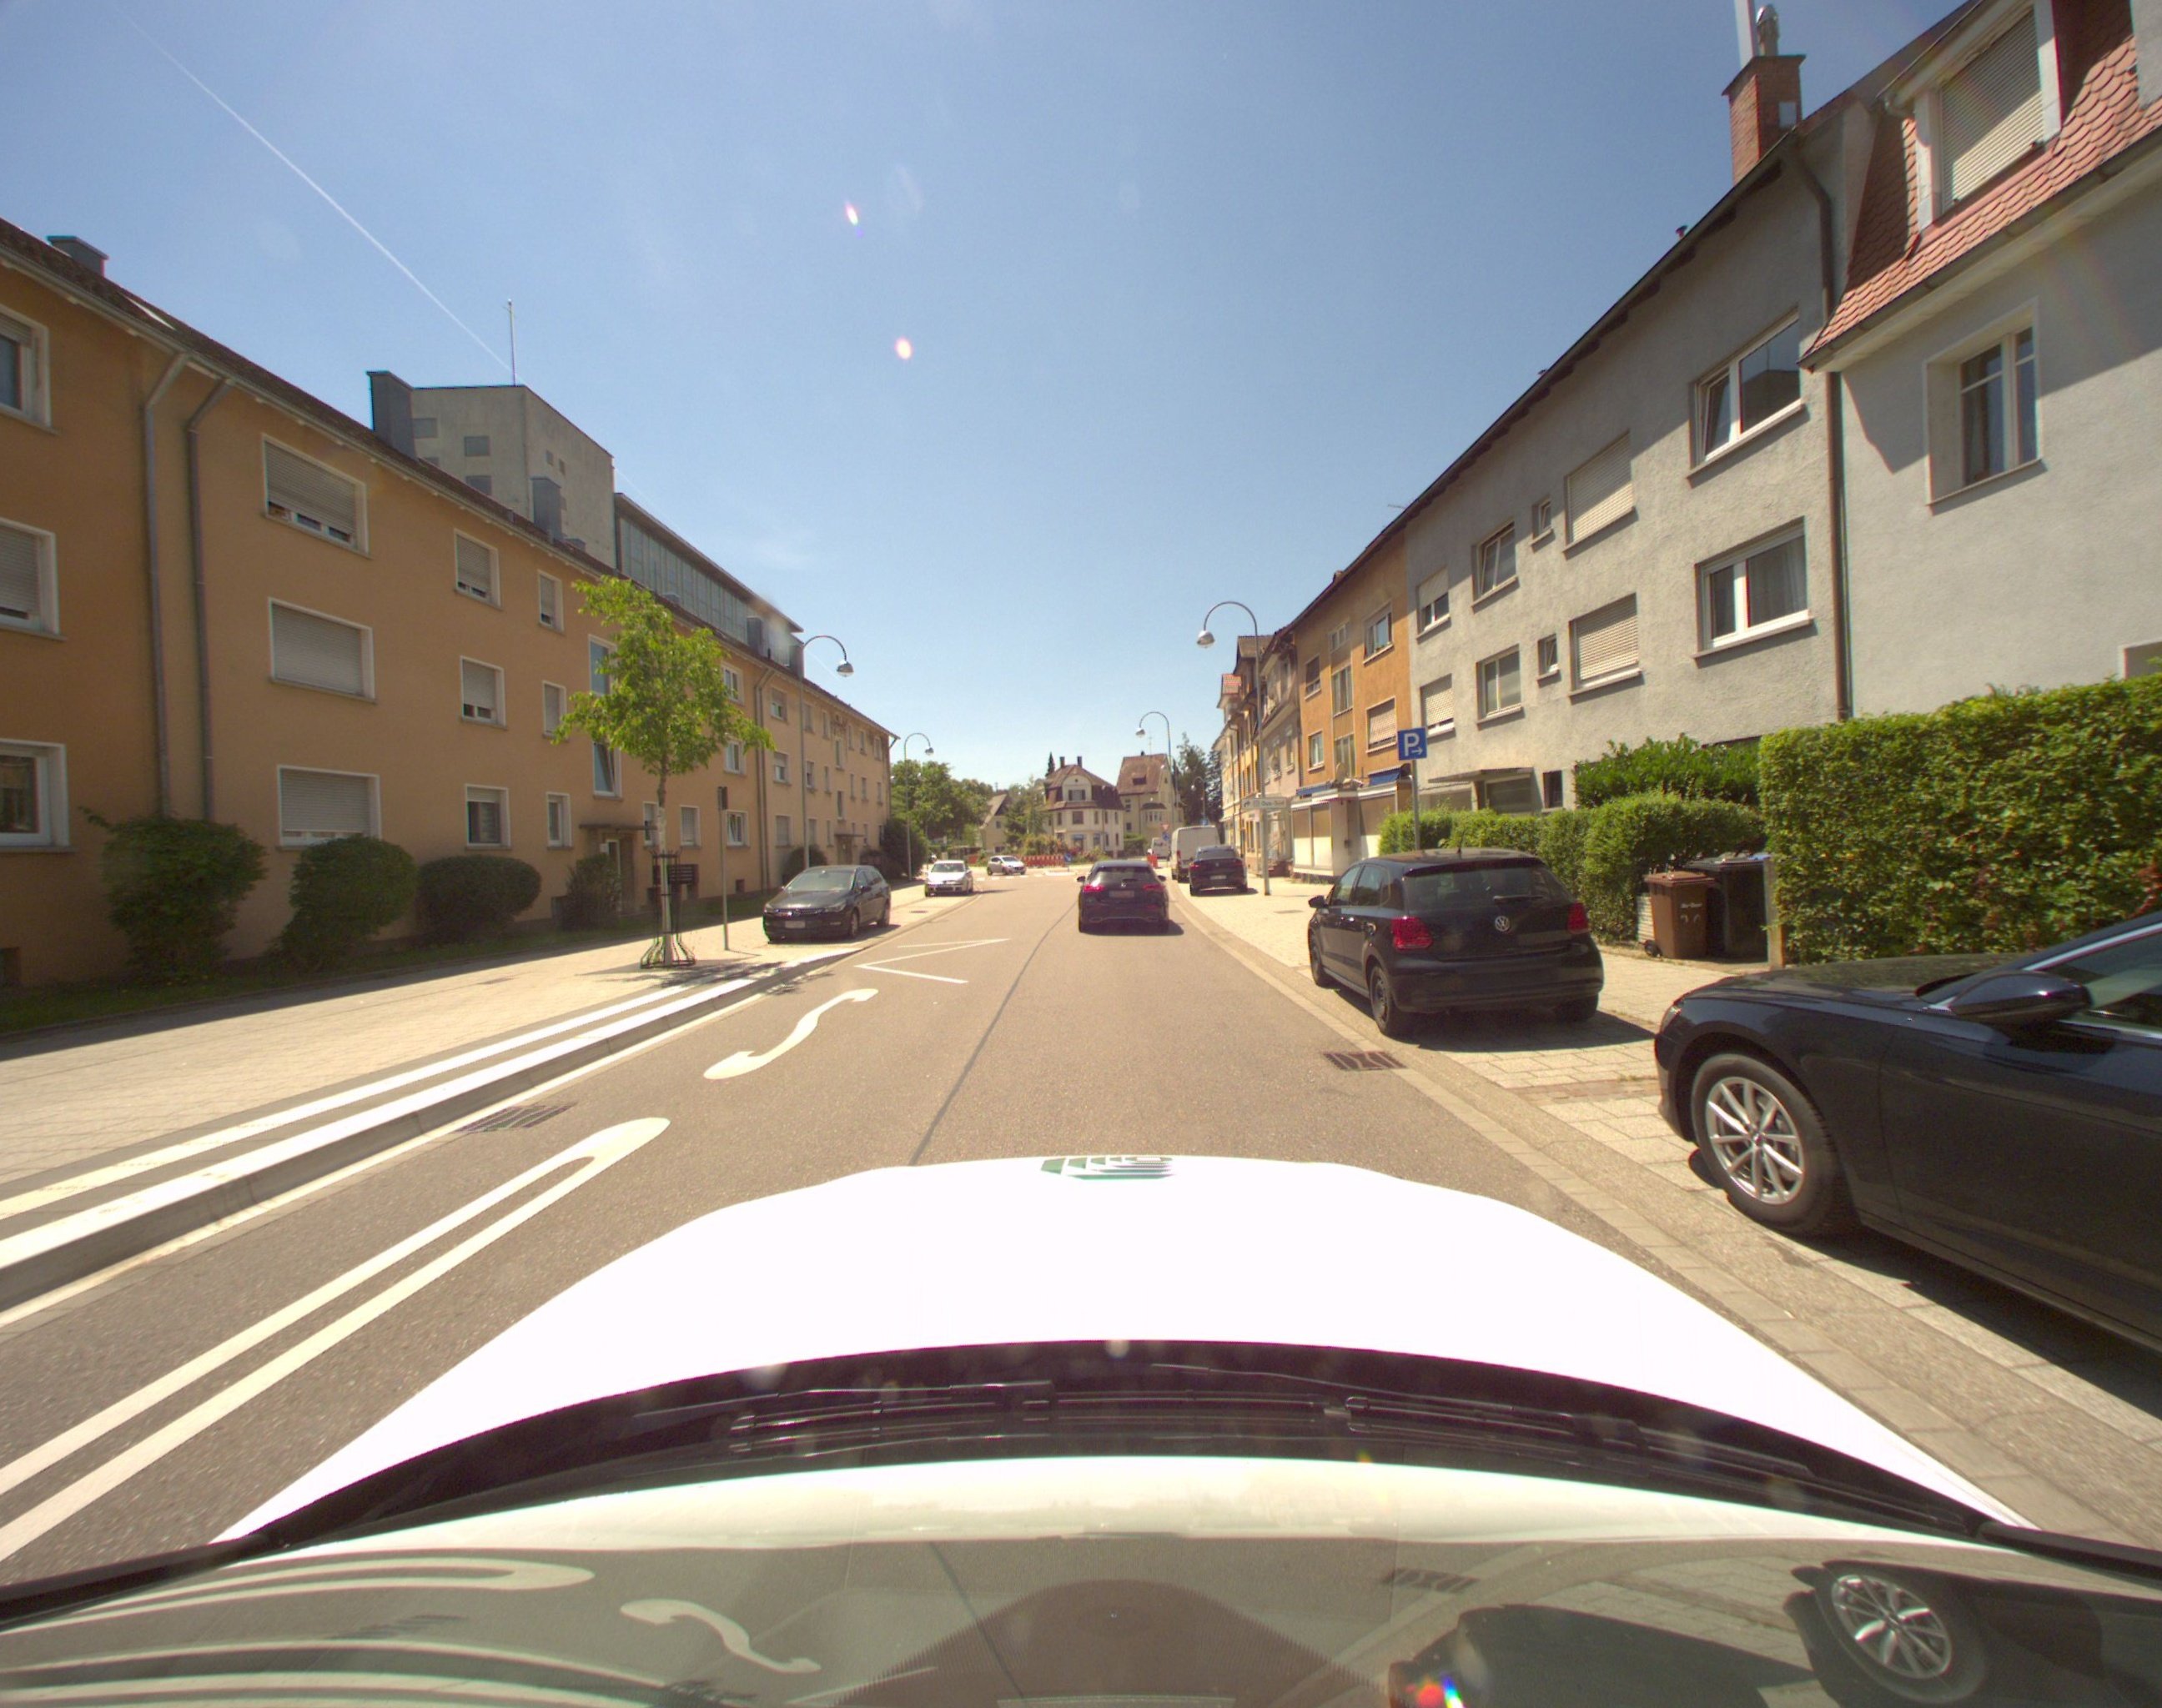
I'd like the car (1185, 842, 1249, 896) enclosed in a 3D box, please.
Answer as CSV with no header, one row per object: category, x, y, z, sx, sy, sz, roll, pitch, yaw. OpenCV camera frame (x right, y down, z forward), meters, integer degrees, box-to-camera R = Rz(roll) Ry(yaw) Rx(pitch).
car,4.684,0.483,27.965,1.884,1.607,4.376,-4,0,10

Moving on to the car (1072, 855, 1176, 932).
car,0.876,0.775,17.378,1.946,1.427,4.001,-1,-1,2

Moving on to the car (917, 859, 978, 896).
car,-5.582,0.952,34.485,1.988,1.420,4.085,0,0,-2

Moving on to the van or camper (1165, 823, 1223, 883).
van or camper,5.357,-0.067,39.403,2.156,2.588,5.770,-3,0,3

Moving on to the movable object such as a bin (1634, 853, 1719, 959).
movable object such as a bin,6.493,0.550,8.897,0.485,1.104,0.556,-2,0,1

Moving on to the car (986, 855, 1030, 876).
car,-5.560,0.891,61.623,1.672,1.496,3.718,-2,0,-35

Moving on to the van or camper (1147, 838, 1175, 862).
van or camper,8.832,-0.452,89.779,2.187,2.610,4.020,-1,0,19

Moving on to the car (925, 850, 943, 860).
car,-24.989,0.189,138.732,1.774,1.597,3.930,-1,-2,10

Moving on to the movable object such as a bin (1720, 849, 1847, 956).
movable object such as a bin,7.686,0.513,8.945,0.733,1.109,0.723,-2,0,2

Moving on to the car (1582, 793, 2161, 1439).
car,3.402,0.578,1.656,1.797,1.475,4.720,-5,0,1

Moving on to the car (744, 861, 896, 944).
car,-5.492,0.938,17.807,1.851,1.506,4.562,0,0,0

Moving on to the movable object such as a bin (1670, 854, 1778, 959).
movable object such as a bin,7.006,0.549,8.906,0.551,1.085,0.776,-2,0,2

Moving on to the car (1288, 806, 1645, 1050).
car,3.258,0.517,7.831,1.720,1.633,4.006,-4,0,5
